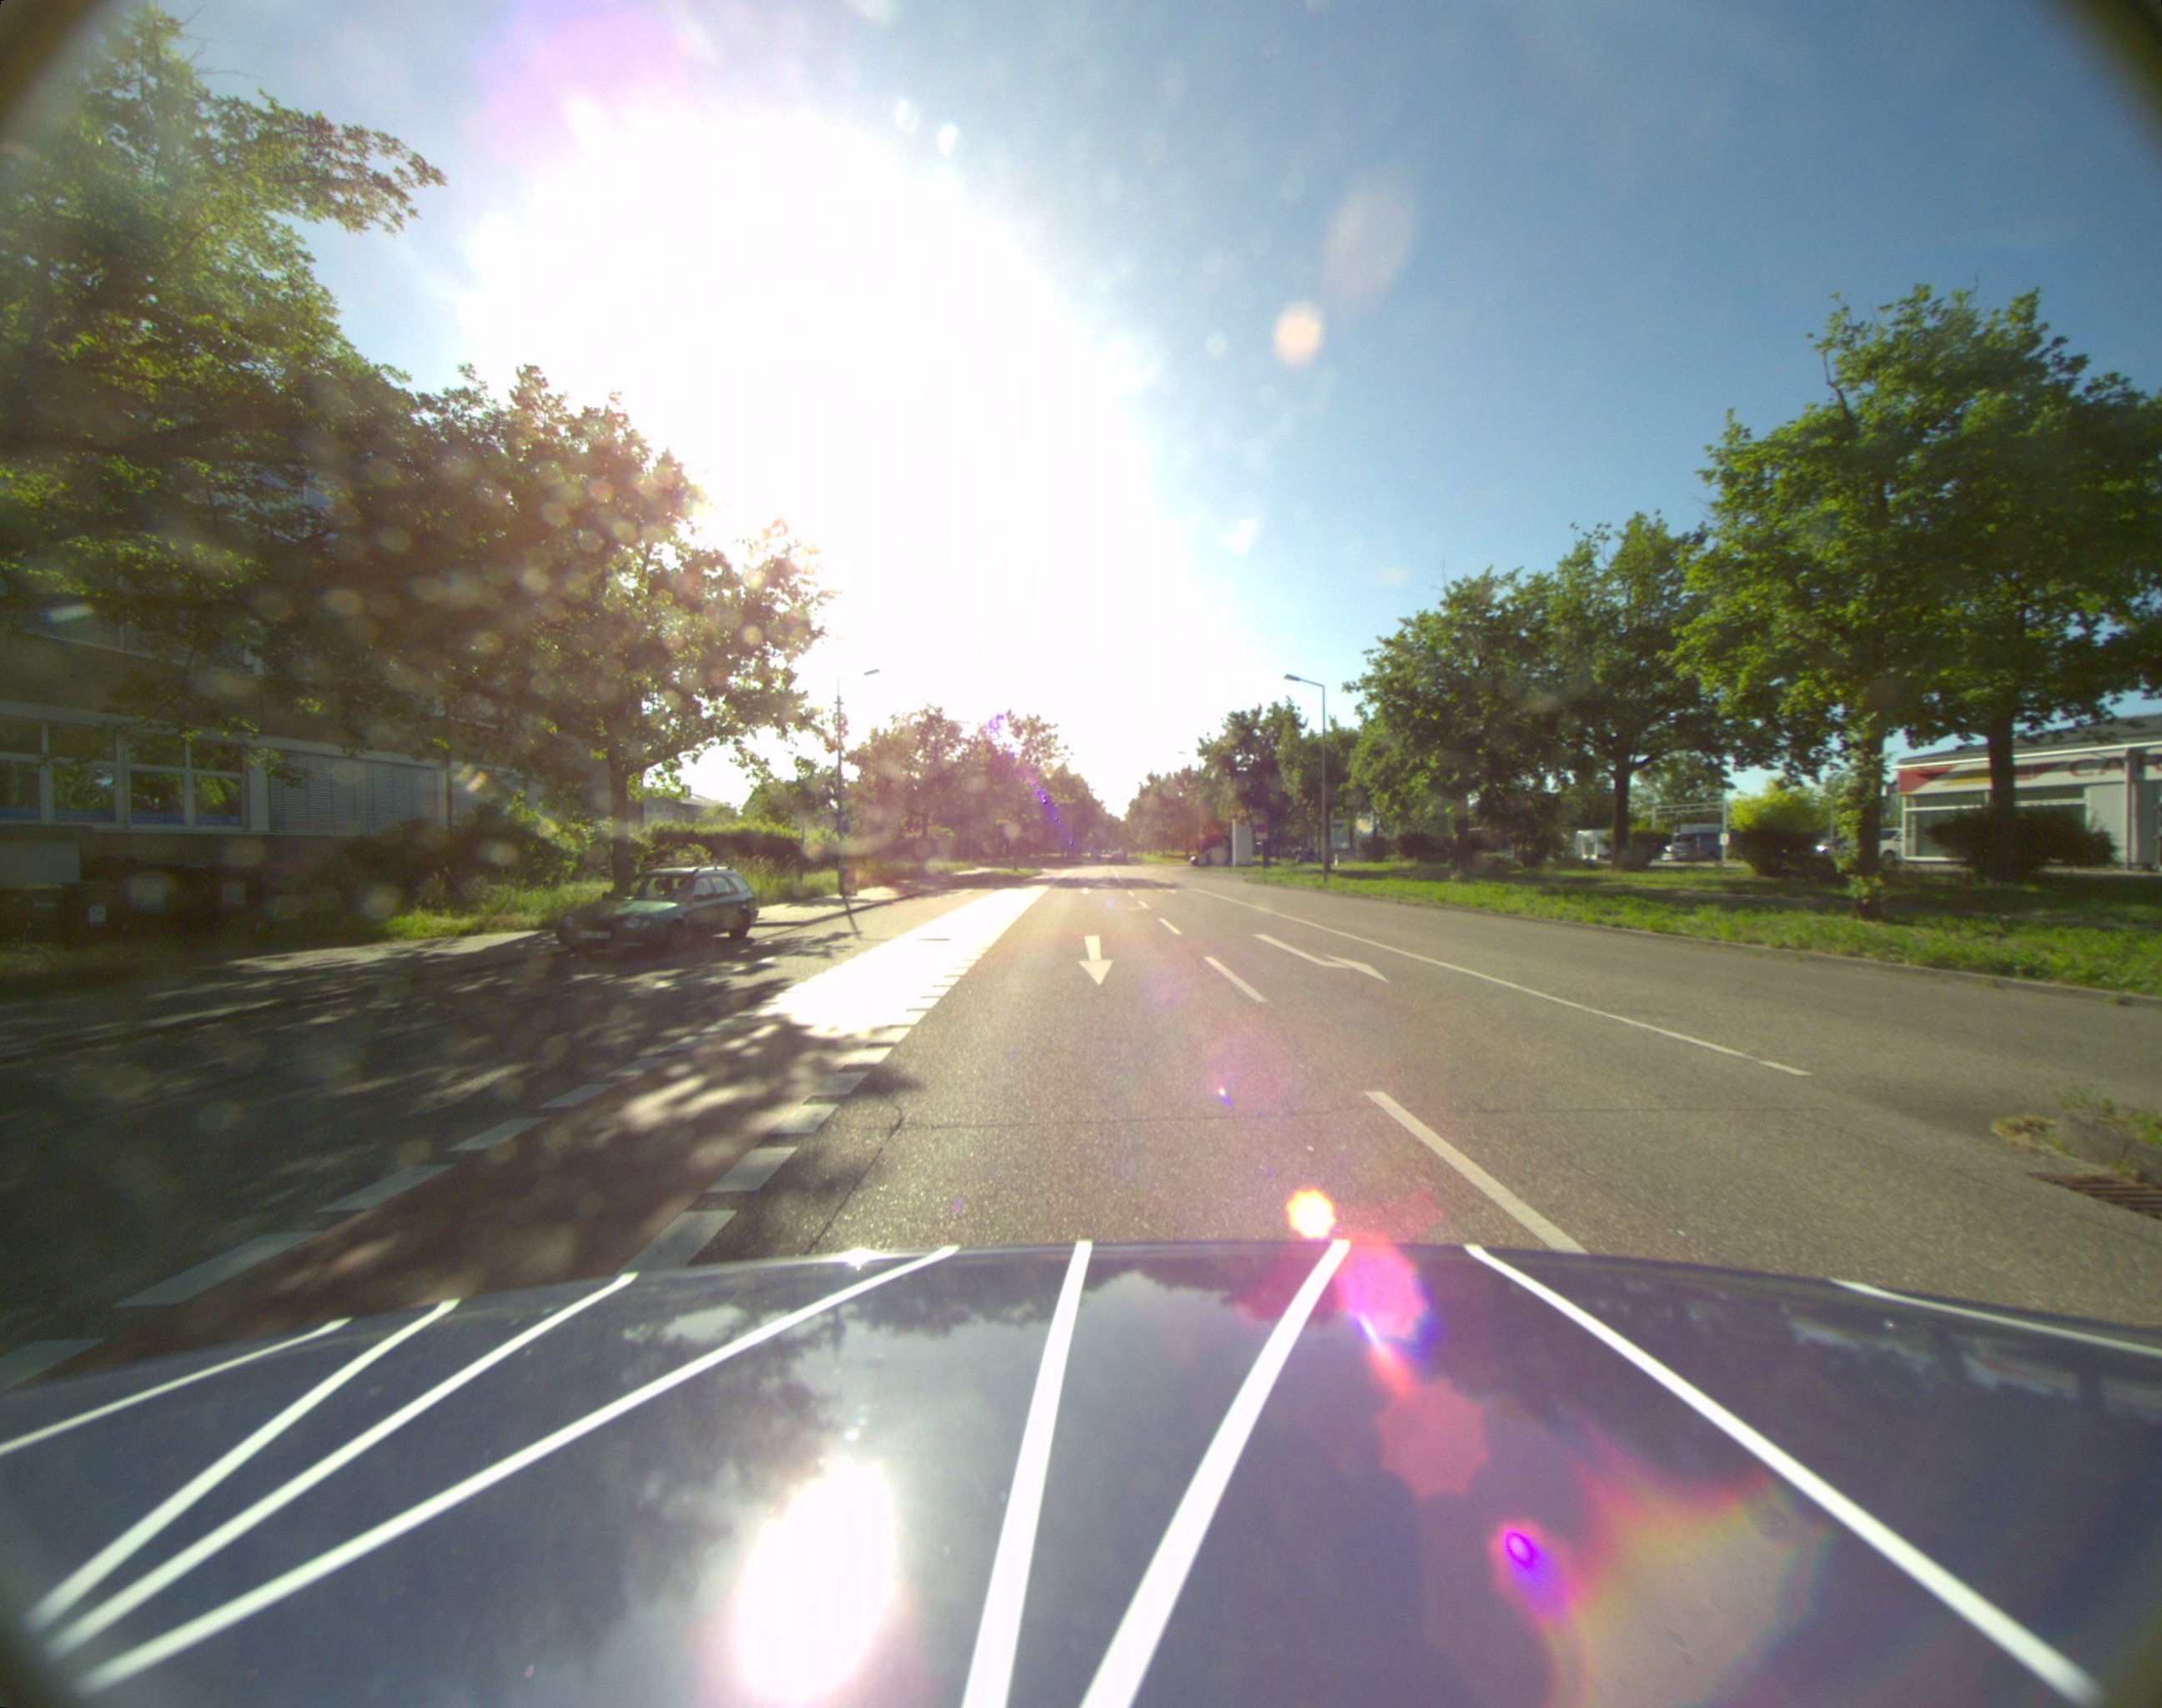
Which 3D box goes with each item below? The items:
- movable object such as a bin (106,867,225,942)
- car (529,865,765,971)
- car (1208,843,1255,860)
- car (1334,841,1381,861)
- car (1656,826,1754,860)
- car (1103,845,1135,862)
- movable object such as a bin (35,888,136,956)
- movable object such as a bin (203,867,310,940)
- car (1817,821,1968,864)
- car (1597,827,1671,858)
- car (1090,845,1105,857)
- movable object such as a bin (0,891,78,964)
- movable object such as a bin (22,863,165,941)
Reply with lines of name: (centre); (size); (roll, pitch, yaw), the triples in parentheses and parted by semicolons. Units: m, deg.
movable object such as a bin: (-17.026, 0.922, 14.154); (1.208, 1.333, 0.796); (-1, 1, 0)
car: (-7.459, 0.998, 13.643); (1.776, 1.477, 4.214); (1, 1, 1)
car: (14.186, -0.236, 71.923); (4.210, 1.477, 1.778); (-1, 1, 5)
car: (27.041, -0.312, 74.470); (3.994, 2.002, 2.001); (0, 1, 9)
car: (39.153, -0.668, 47.735); (4.490, 1.934, 1.997); (-2, 1, 1)
car: (3.981, -0.116, 79.033); (1.995, 1.674, 4.006); (-1, 1, 23)
movable object such as a bin: (-16.184, 1.096, 12.370); (0.687, 1.036, 0.695); (-1, 1, 0)
movable object such as a bin: (-15.492, 0.913, 14.301); (1.089, 1.314, 0.796); (-1, 1, 0)
car: (33.869, -0.472, 31.784); (4.238, 1.578, 1.997); (-2, 1, -1)
car: (40.405, -0.836, 55.583); (4.212, 2.204, 1.777); (-1, 1, -2)
car: (2.156, -0.396, 99.813); (1.776, 1.477, 3.781); (1, 1, 4)
movable object such as a bin: (-16.200, 1.118, 11.634); (0.687, 1.036, 0.695); (-2, 1, 1)
movable object such as a bin: (-18.451, 0.874, 14.226); (1.470, 1.371, 0.879); (-1, 1, 0)
